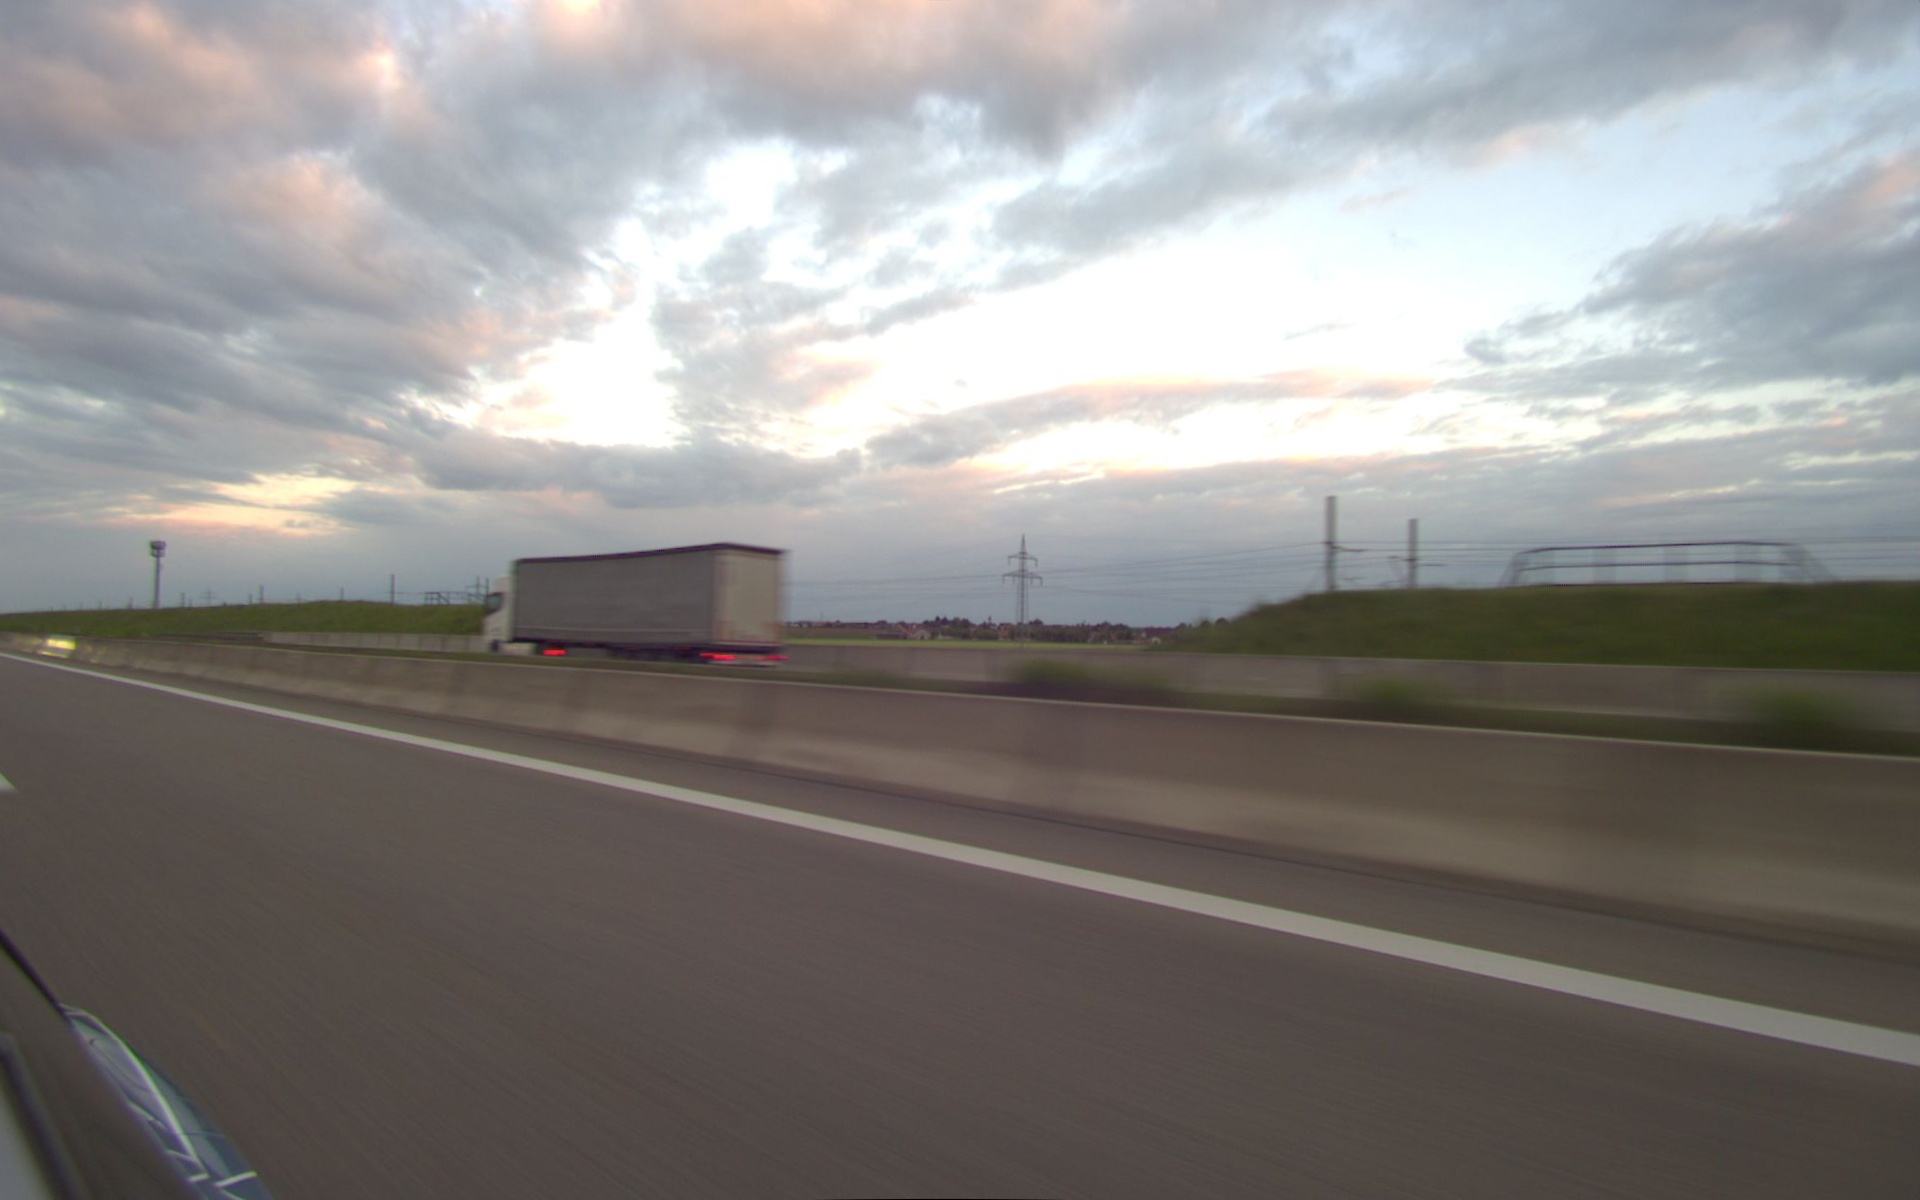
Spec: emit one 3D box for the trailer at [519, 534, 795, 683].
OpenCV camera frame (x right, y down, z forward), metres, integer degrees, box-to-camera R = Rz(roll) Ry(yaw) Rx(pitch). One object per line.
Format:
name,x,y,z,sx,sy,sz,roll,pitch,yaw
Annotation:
trailer,-10.938,0.386,35.022,12.832,4.385,2.788,-2,-1,41

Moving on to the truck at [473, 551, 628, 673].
truck,-16.107,0.494,39.553,6.733,4.385,2.789,-2,-1,40
